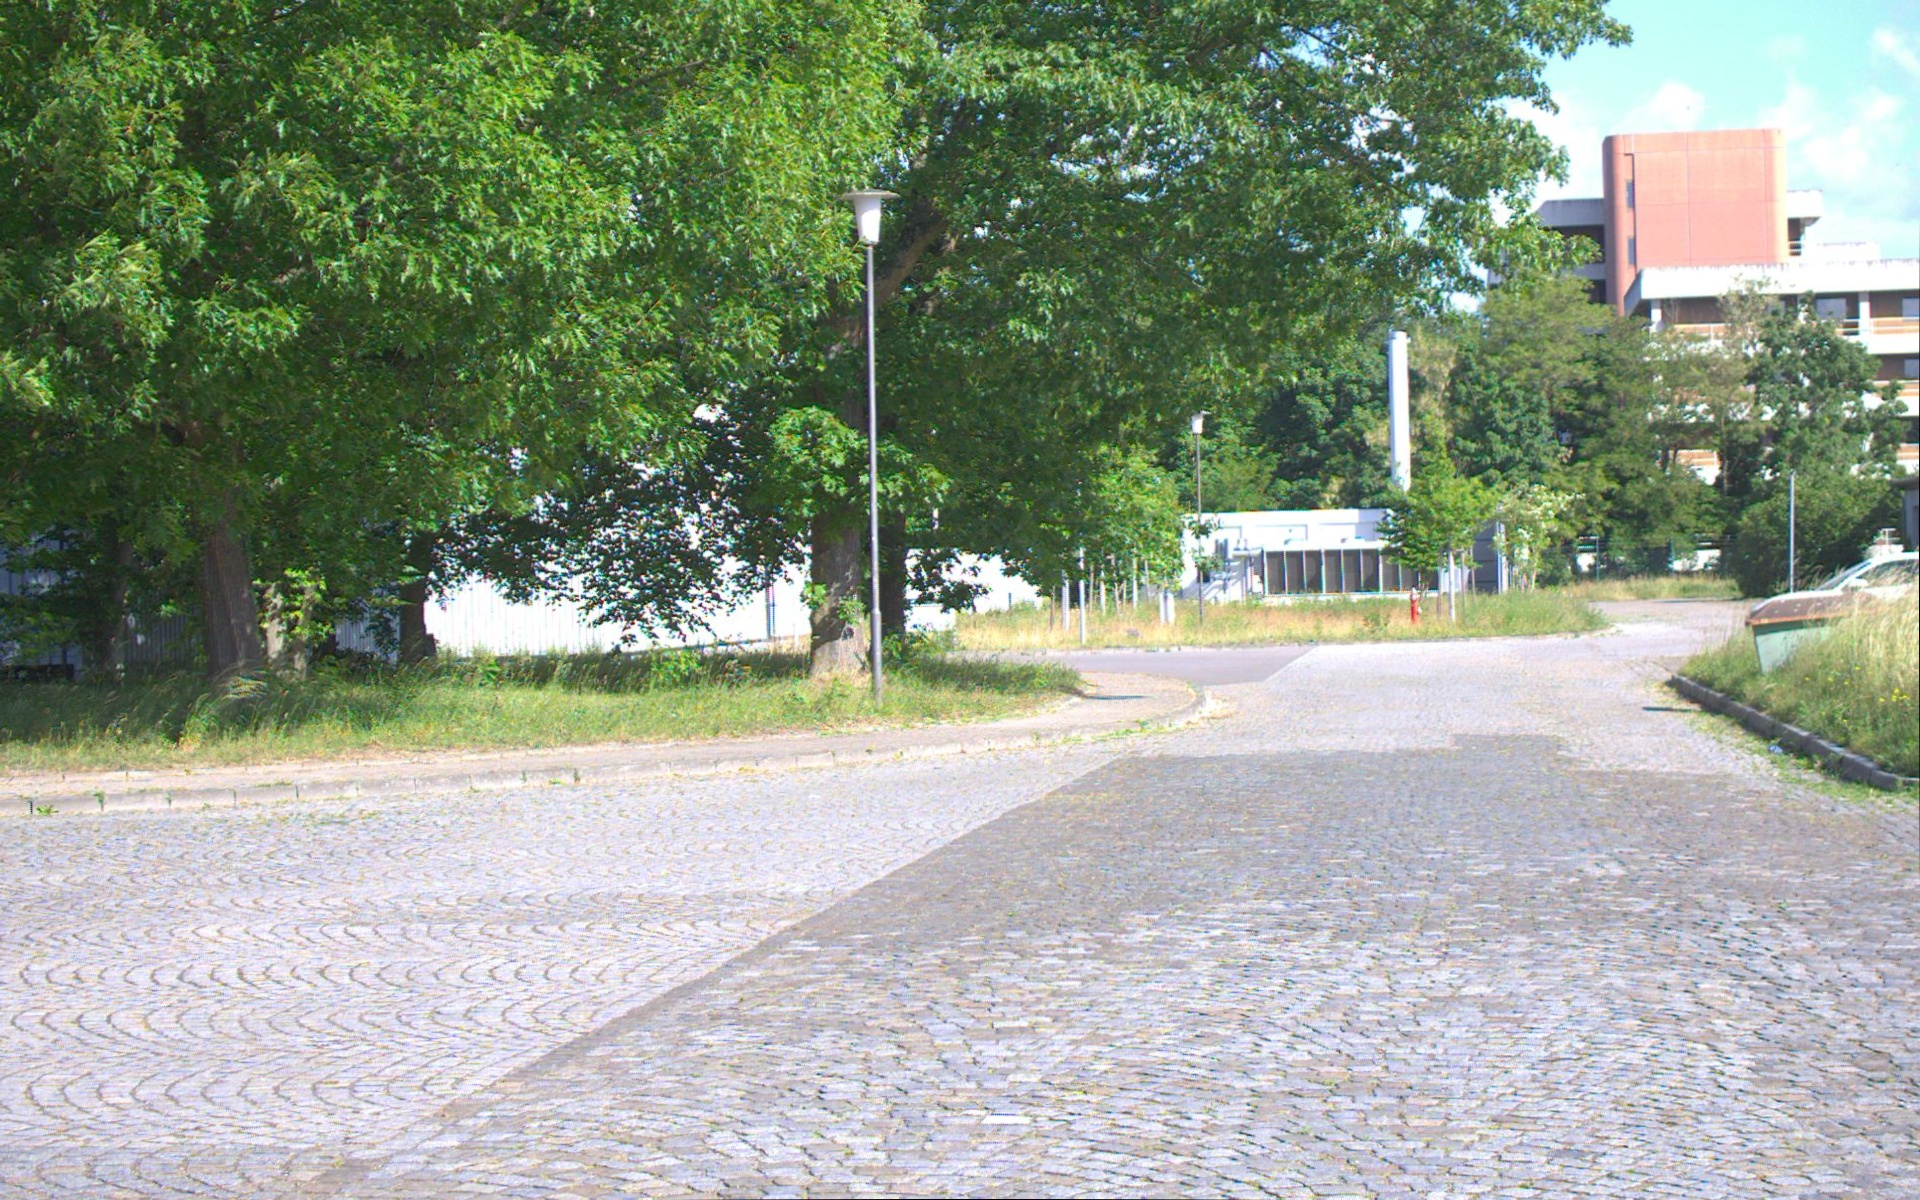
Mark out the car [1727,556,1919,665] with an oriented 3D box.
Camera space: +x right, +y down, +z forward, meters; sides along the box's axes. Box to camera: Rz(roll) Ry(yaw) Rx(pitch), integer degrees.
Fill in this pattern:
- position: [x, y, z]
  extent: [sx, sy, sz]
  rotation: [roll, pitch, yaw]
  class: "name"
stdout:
- position: [14.620, 0.139, 54.647]
  extent: [4.505, 1.642, 1.999]
  rotation: [-1, 0, 7]
  class: "car"
